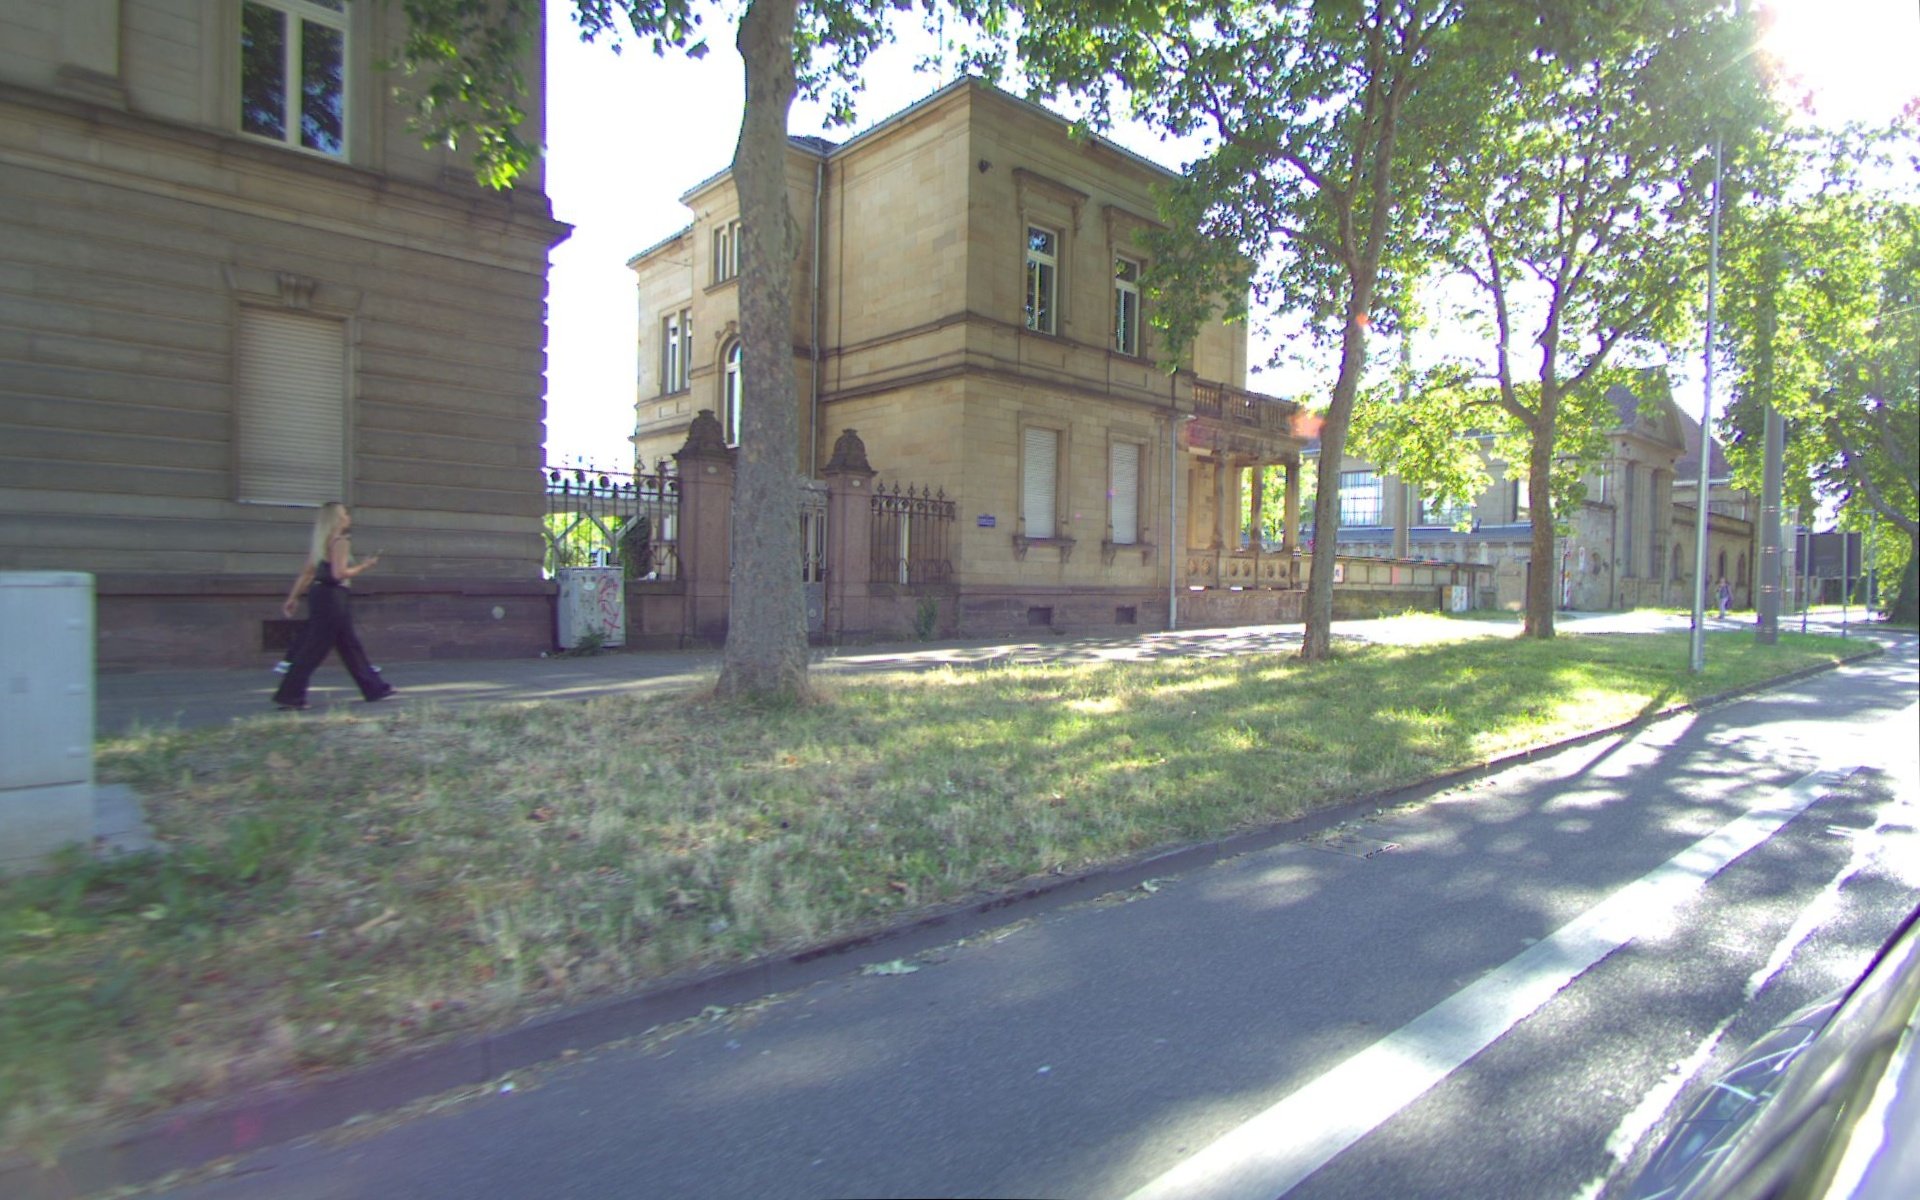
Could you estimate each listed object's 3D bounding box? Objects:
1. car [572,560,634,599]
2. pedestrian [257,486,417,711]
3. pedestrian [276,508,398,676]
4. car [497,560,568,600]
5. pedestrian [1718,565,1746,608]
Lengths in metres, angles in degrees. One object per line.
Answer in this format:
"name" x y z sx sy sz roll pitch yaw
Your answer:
"car" -14.178 -0.869 40.375 1.736 1.437 4.093 1 2 -11
"pedestrian" -5.163 -0.028 8.393 1.024 1.730 0.771 0 2 -40
"pedestrian" -6.437 -0.096 10.457 0.969 1.626 0.771 0 2 -40
"car" -16.381 -0.810 38.960 1.736 1.437 4.093 1 2 -11
"pedestrian" 31.263 -0.560 40.966 0.859 1.682 0.672 0 3 -40
